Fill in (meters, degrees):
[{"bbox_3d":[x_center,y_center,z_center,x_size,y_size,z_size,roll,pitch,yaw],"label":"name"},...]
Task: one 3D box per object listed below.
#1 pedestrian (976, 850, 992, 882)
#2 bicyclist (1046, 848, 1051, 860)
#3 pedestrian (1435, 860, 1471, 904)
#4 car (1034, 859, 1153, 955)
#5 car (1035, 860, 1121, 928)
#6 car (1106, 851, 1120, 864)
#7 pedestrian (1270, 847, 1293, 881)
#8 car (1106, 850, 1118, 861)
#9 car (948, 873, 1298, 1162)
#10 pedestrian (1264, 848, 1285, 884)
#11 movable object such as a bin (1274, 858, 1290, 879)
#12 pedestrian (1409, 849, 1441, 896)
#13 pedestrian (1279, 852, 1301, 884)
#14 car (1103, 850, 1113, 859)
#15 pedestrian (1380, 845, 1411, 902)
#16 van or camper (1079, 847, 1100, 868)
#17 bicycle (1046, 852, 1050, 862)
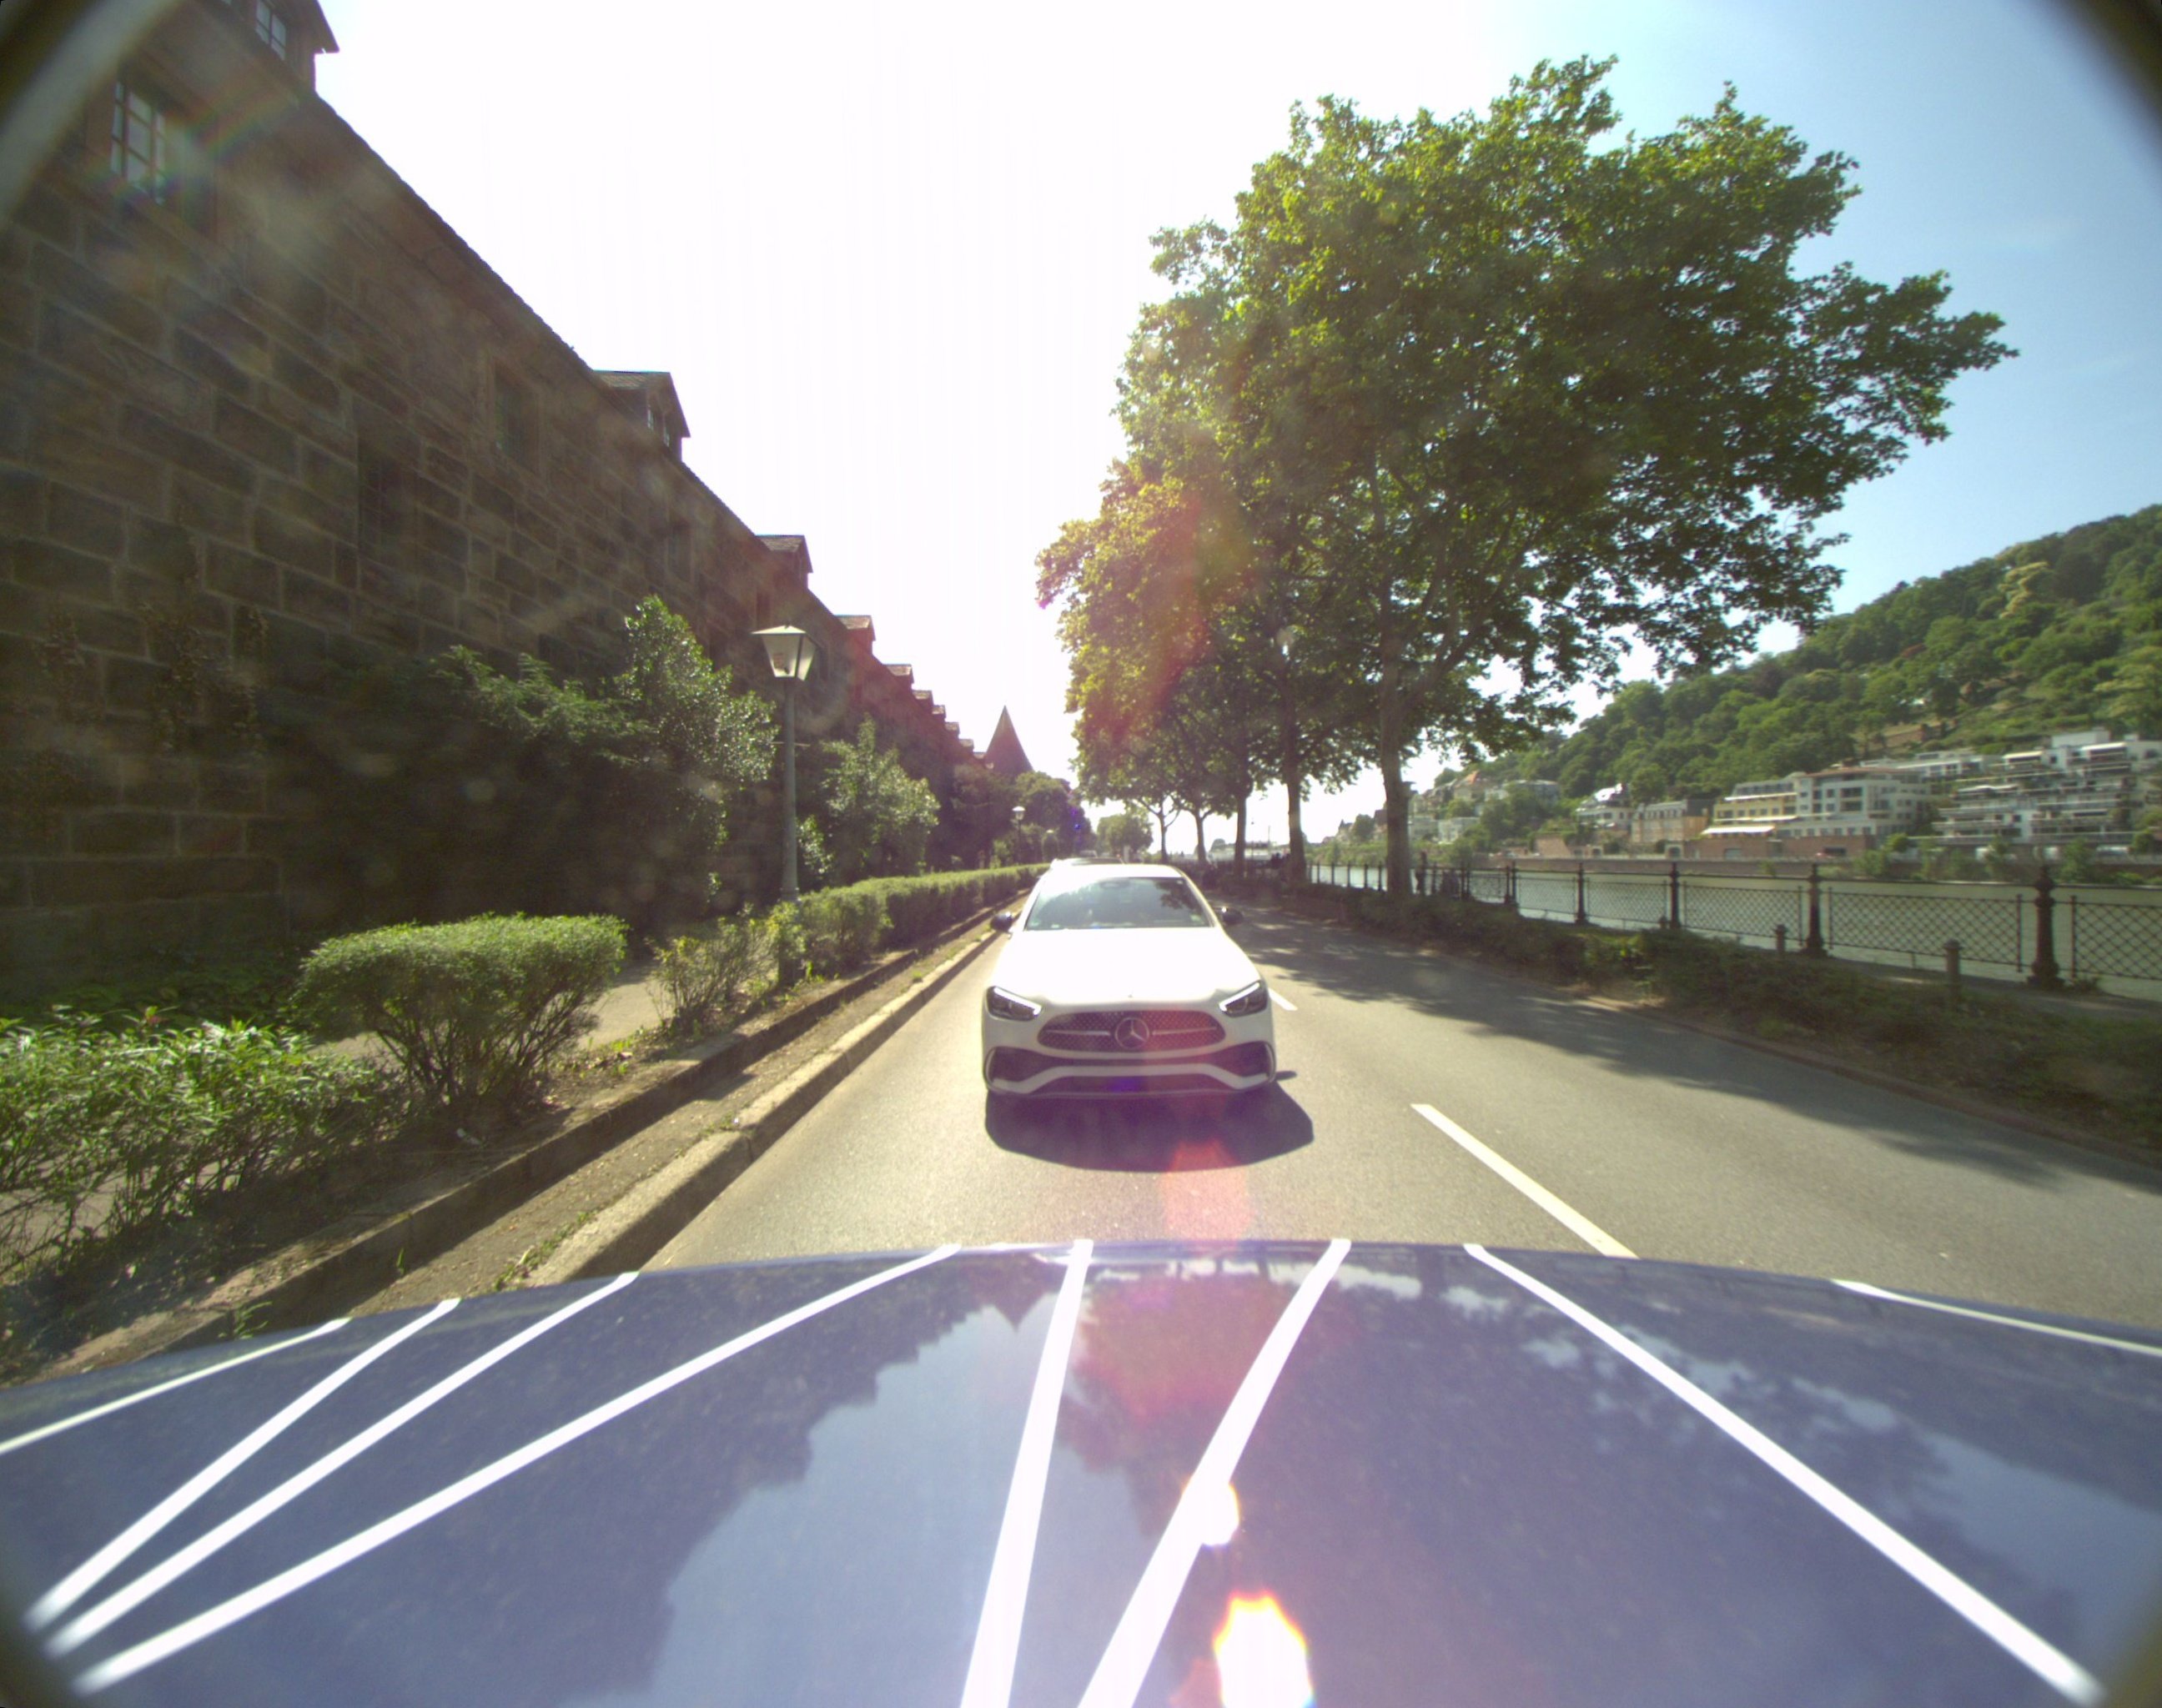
[{"bbox_3d":[-4.736,0.583,37.125,0.643,1.555,0.563,-2,1,1],"label":"pedestrian"},{"bbox_3d":[-4.182,-0.033,96.529,0.550,1.513,0.583,-2,1,-1],"label":"bicyclist"},{"bbox_3d":[12.091,0.908,24.708,0.768,1.379,0.770,1,0,0],"label":"pedestrian"},{"bbox_3d":[0.226,0.863,14.191,1.833,1.428,4.270,-2,0,1],"label":"car"},{"bbox_3d":[-0.032,0.908,18.901,1.833,1.395,4.424,-2,0,1],"label":"car"},{"bbox_3d":[5.339,0.563,125.353,2.165,2.002,4.000,-2,1,1],"label":"car"},{"bbox_3d":[12.340,0.602,46.822,1.047,2.002,1.036,-1,1,31],"label":"pedestrian"},{"bbox_3d":[5.861,0.209,145.910,2.165,2.002,4.000,-2,1,1],"label":"car"},{"bbox_3d":[0.254,0.934,6.217,1.833,1.395,4.270,-2,0,1],"label":"car"},{"bbox_3d":[10.098,0.620,39.739,0.806,1.839,0.929,-2,1,1],"label":"pedestrian"},{"bbox_3d":[10.715,0.776,40.521,0.703,1.043,0.783,-2,1,4],"label":"movable object such as a bin"},{"bbox_3d":[12.934,0.686,28.591,0.777,1.748,0.830,1,1,0],"label":"pedestrian"},{"bbox_3d":[10.917,0.736,39.783,0.897,1.625,1.059,-2,1,6],"label":"pedestrian"},{"bbox_3d":[6.231,0.116,173.966,2.165,2.002,4.000,-2,1,1],"label":"car"},{"bbox_3d":[10.565,0.642,25.549,0.767,1.889,0.771,1,1,8],"label":"pedestrian"},{"bbox_3d":[0.917,0.398,87.432,2.313,2.358,5.035,1,0,0],"label":"van or camper"},{"bbox_3d":[-4.171,0.361,96.451,0.406,1.169,1.576,-2,1,-2],"label":"bicycle"}]
